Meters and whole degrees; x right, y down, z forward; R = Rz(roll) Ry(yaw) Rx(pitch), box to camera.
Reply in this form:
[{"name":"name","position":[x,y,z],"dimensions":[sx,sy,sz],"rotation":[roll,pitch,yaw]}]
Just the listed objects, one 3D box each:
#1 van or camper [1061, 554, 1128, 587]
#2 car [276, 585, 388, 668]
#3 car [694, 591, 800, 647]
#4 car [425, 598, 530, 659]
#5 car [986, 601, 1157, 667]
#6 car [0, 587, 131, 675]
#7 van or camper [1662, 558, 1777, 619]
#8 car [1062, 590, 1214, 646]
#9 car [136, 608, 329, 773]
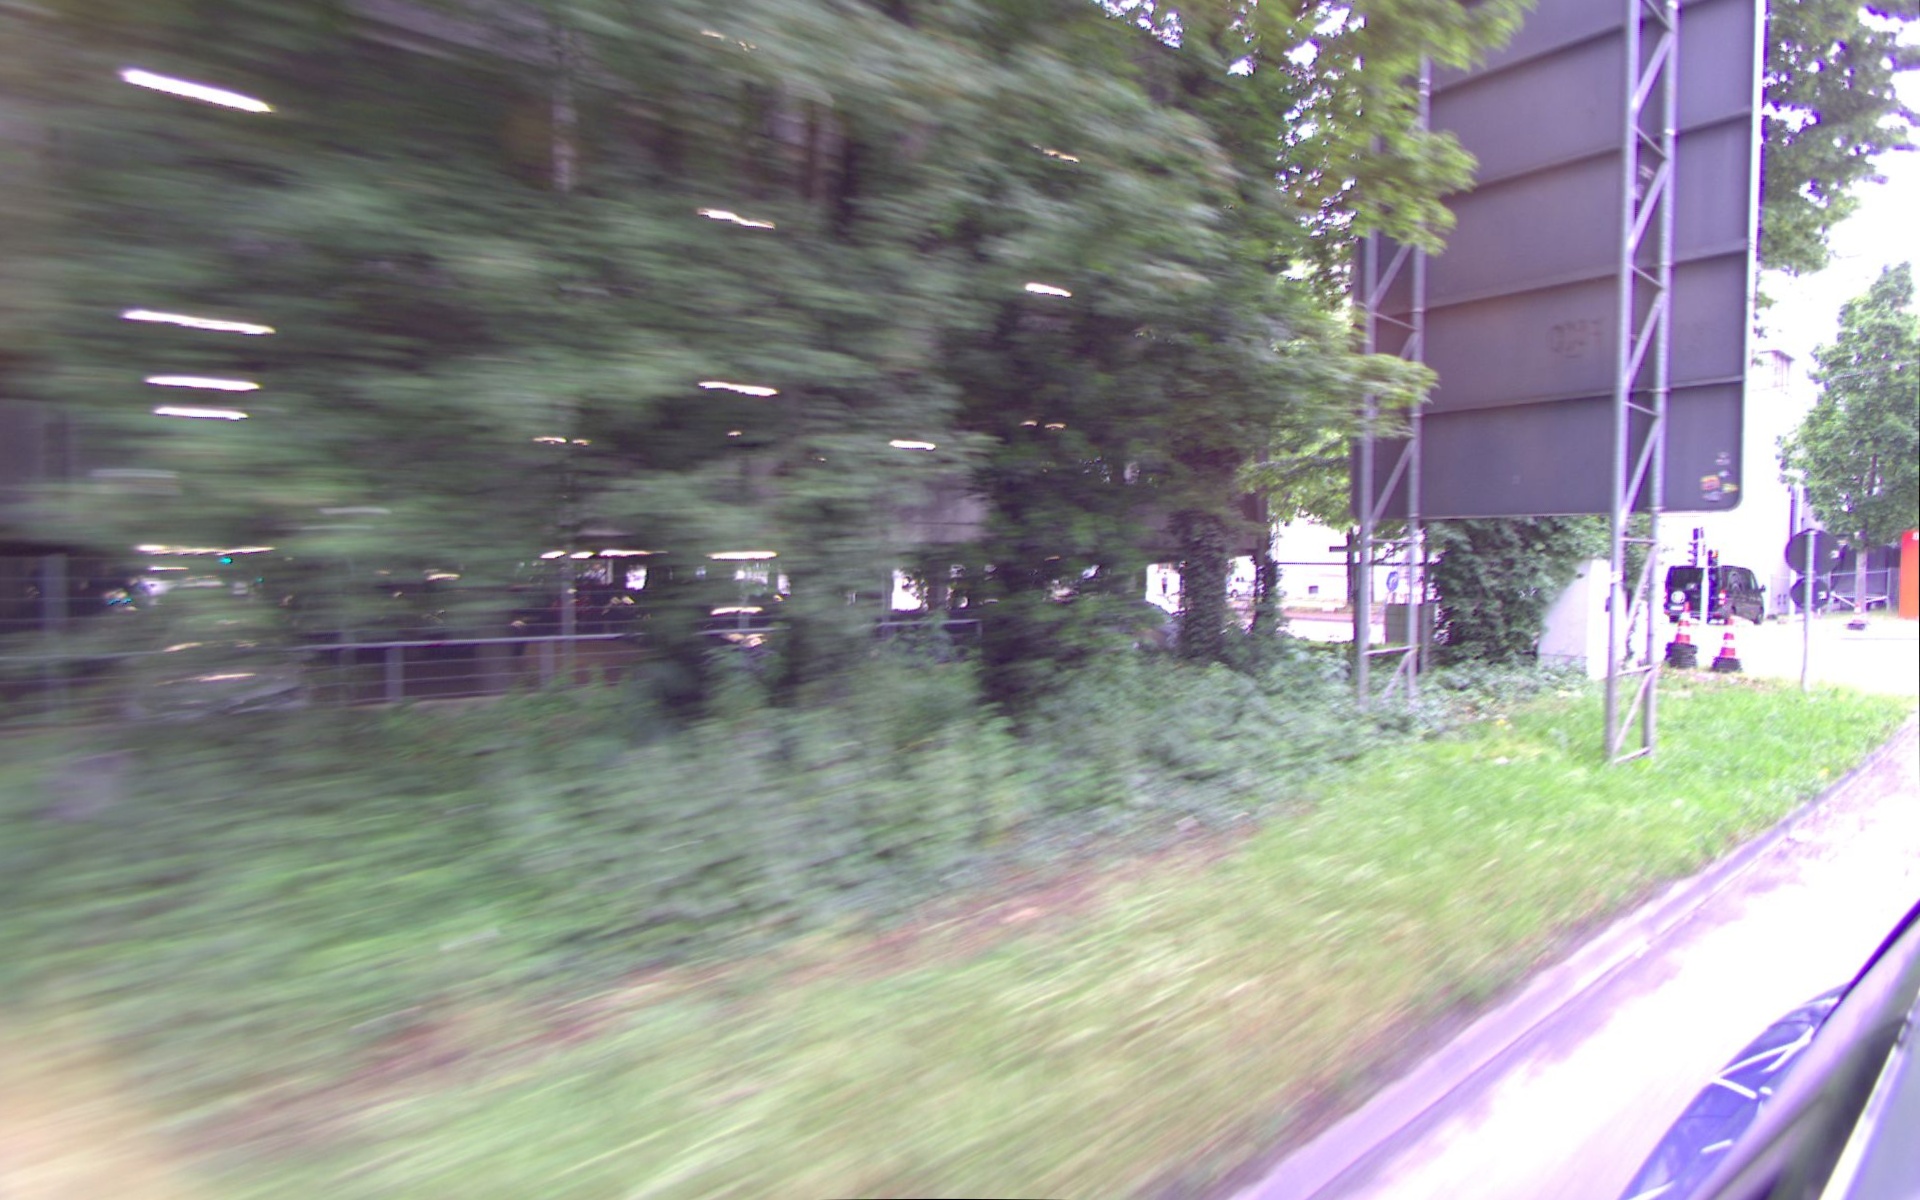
[{"name":"van or camper","position":[10.448,-2.310,78.257],"dimensions":[5.177,2.456,2.255],"rotation":[-2,3,-40]},{"name":"car","position":[-13.876,0.501,22.280],"dimensions":[1.680,1.543,3.725],"rotation":[-3,4,-38]},{"name":"car","position":[-6.142,0.491,28.905],"dimensions":[1.495,1.381,3.774],"rotation":[-1,3,-38]},{"name":"car","position":[-11.396,0.623,23.826],"dimensions":[1.496,1.190,3.341],"rotation":[-3,3,-39]},{"name":"car","position":[2.286,0.654,21.482],"dimensions":[1.592,1.176,3.640],"rotation":[-1,2,-36]},{"name":"car","position":[-17.821,0.527,20.300],"dimensions":[1.793,1.506,4.069],"rotation":[0,2,-39]},{"name":"van or camper","position":[29.101,-0.385,38.713],"dimensions":[5.540,2.136,2.168],"rotation":[1,0,-38]},{"name":"car","position":[3.984,0.363,23.009],"dimensions":[1.510,1.100,3.253],"rotation":[-1,2,-38]},{"name":"car","position":[-9.301,0.972,12.901],"dimensions":[1.680,1.473,4.455],"rotation":[-3,4,-37]}]
